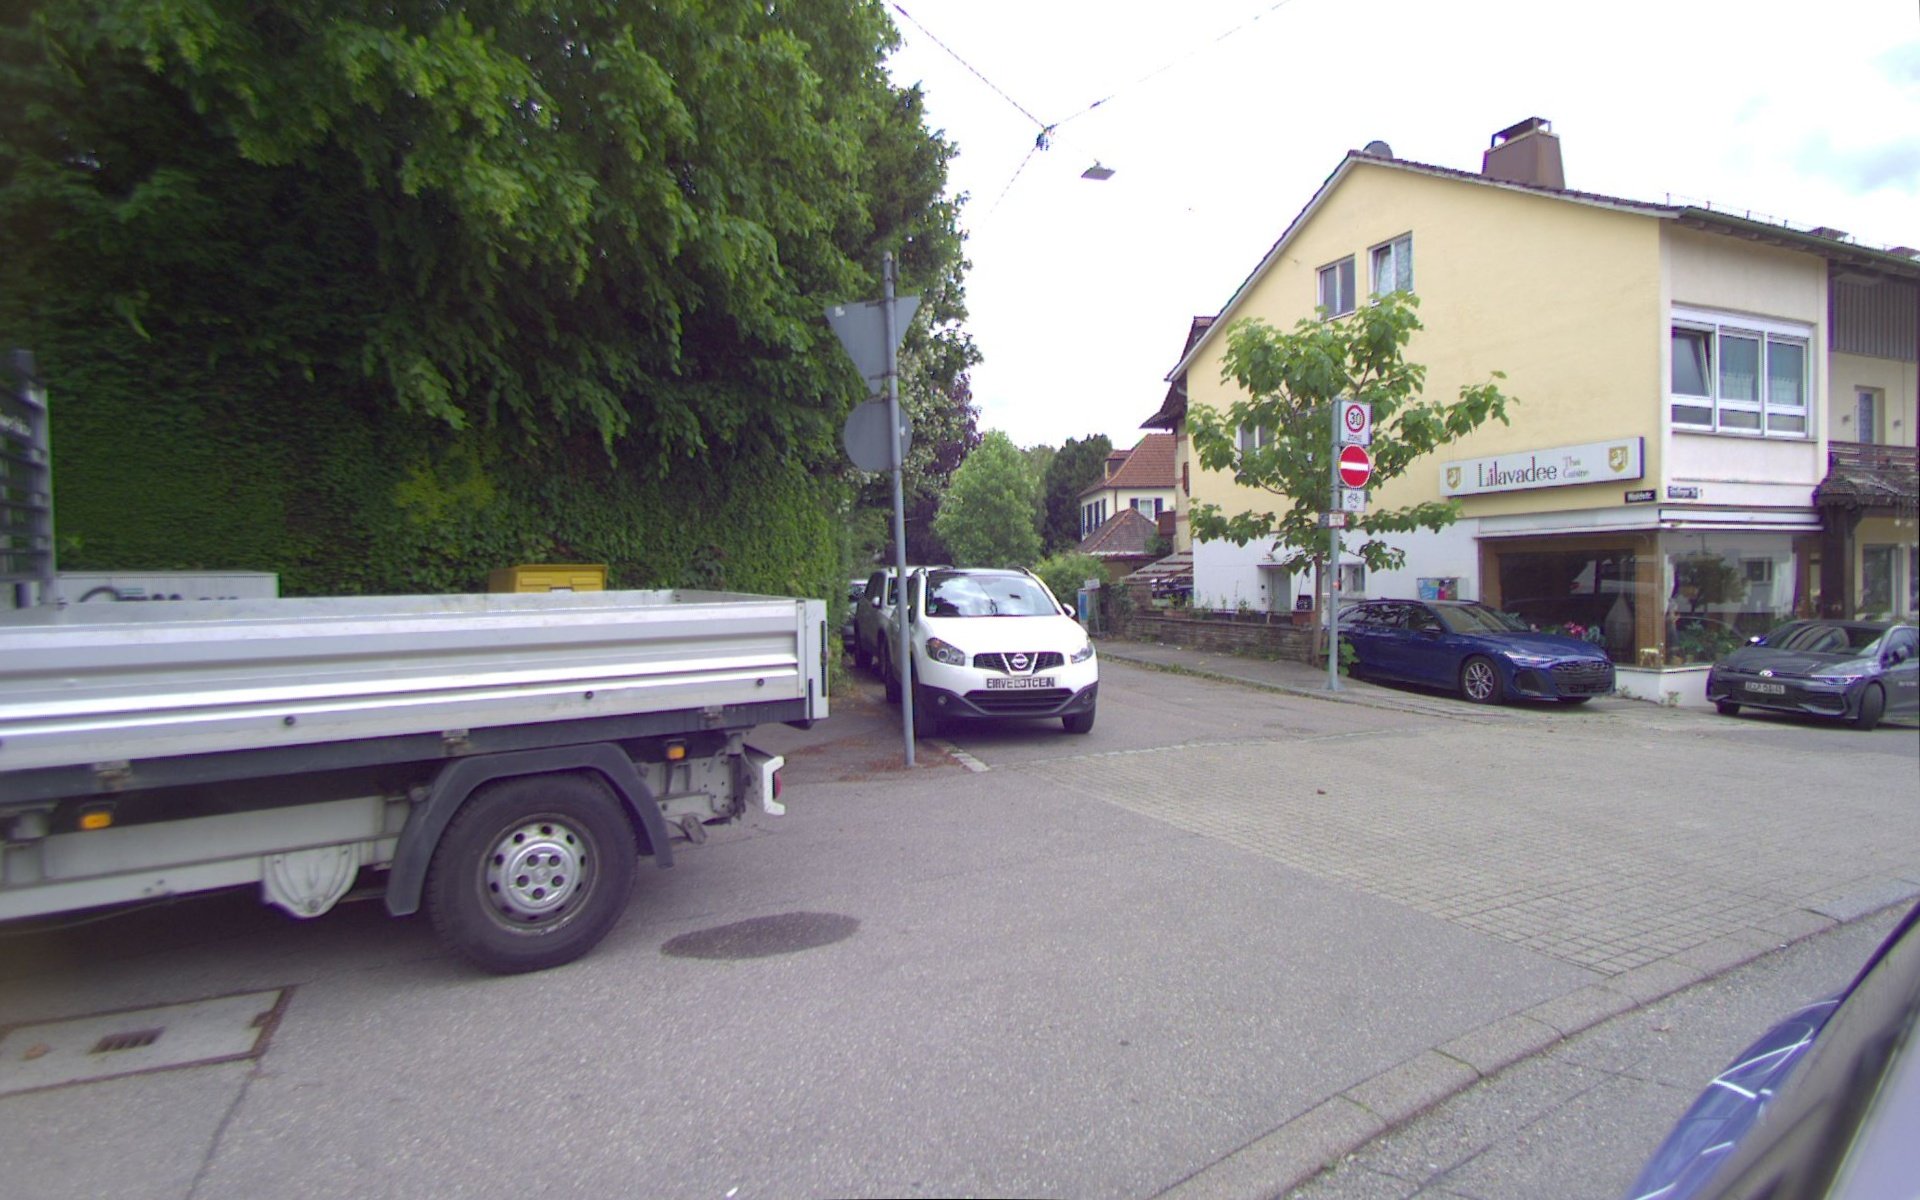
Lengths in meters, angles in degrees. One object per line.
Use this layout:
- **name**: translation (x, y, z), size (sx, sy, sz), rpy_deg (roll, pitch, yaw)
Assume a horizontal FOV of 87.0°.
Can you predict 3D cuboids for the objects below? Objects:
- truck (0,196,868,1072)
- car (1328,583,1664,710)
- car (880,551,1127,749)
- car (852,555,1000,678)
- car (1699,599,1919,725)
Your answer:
- **truck**: translation (-3.575, 0.079, 3.560), size (6.068, 2.381, 2.406), rpy_deg (-1, 1, -32)
- **car**: translation (7.751, 0.593, 15.156), size (1.891, 1.548, 4.238), rpy_deg (2, 1, -19)
- **car**: translation (0.238, 0.383, 10.773), size (1.830, 1.660, 4.074), rpy_deg (-1, 1, -9)
- **car**: translation (-0.677, 0.170, 16.024), size (1.830, 1.681, 4.074), rpy_deg (0, 1, -9)
- **car**: translation (12.420, 0.869, 14.190), size (3.803, 1.512, 1.878), rpy_deg (4, -1, -29)
